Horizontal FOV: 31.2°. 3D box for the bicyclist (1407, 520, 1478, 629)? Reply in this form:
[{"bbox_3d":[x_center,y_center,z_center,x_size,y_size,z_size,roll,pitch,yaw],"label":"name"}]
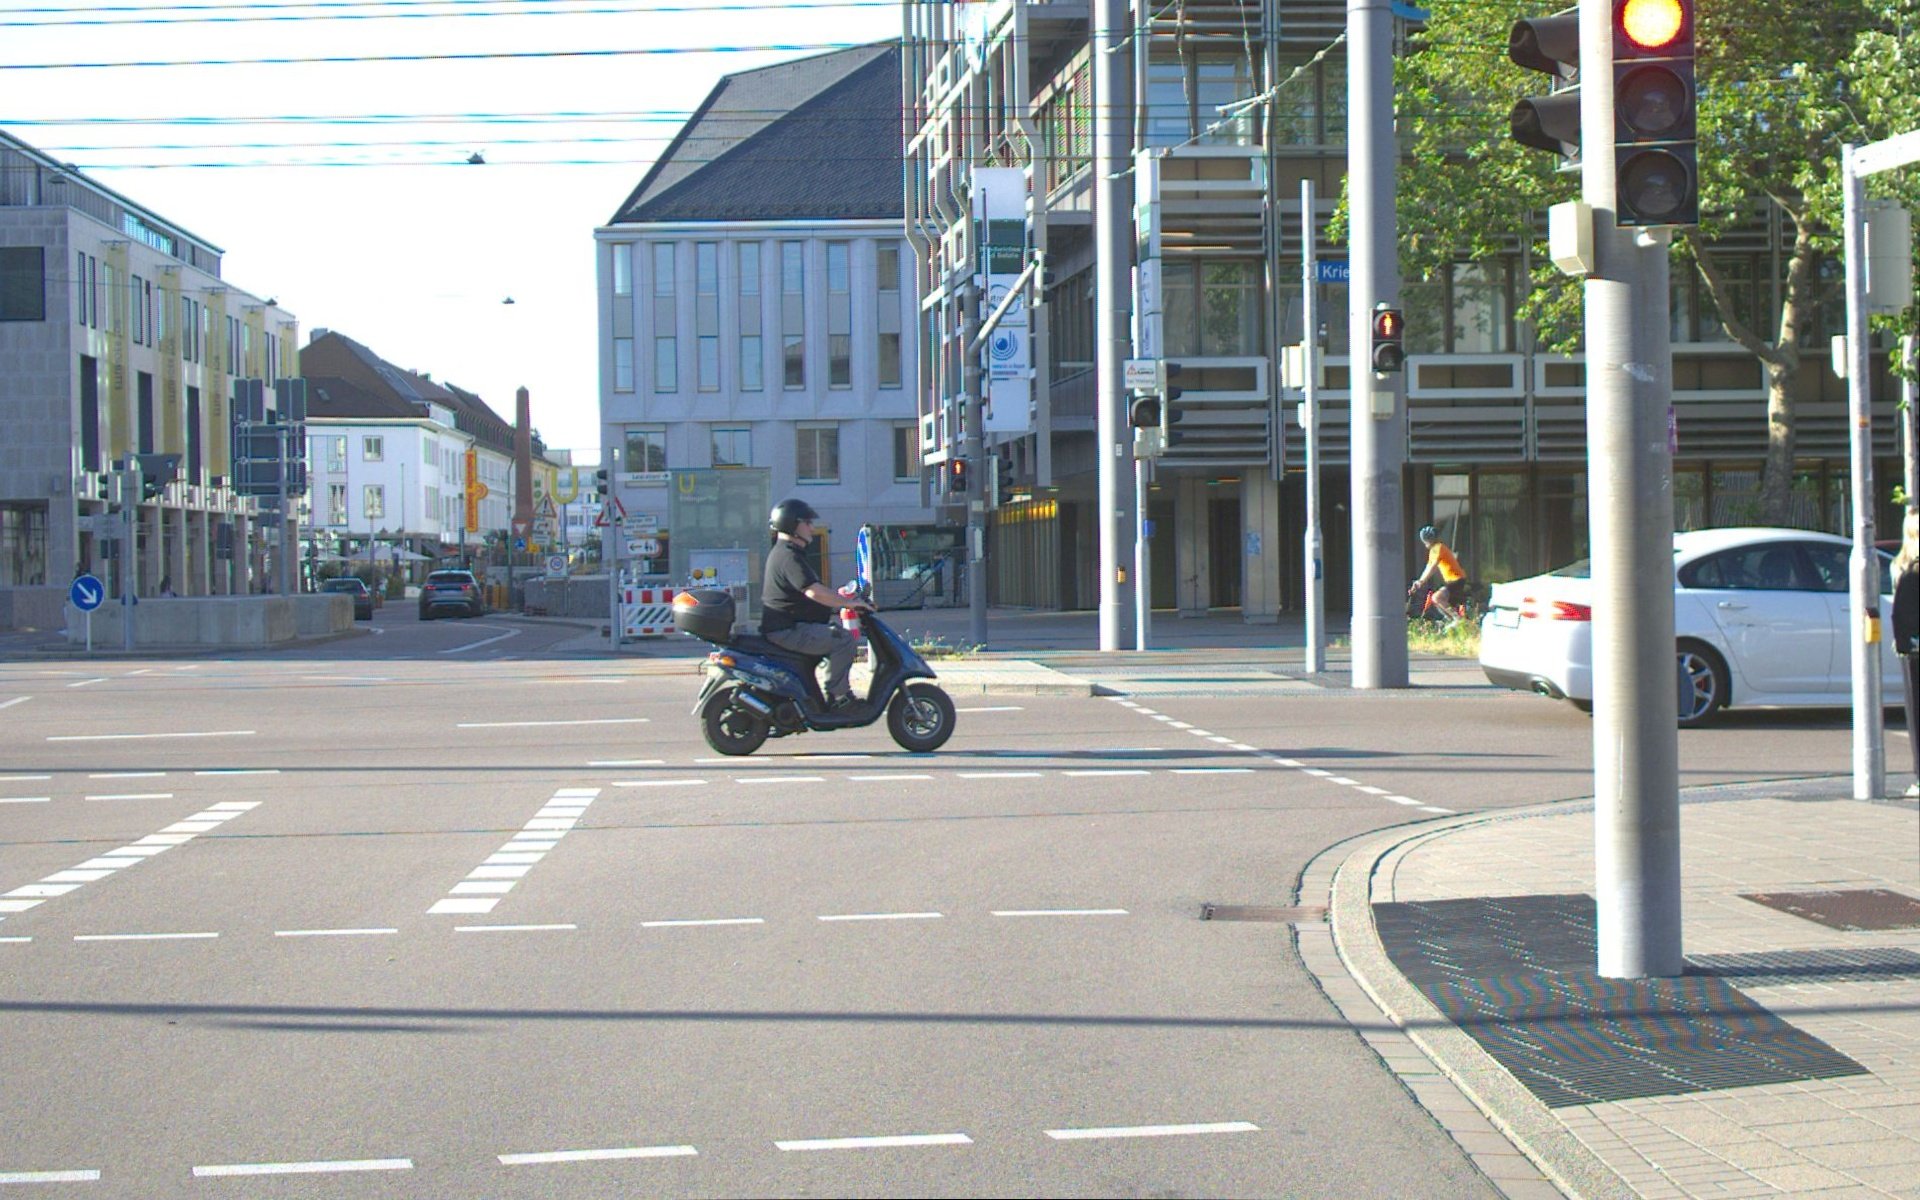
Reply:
[{"bbox_3d":[6.615,-0.358,47.134,0.822,1.469,0.652,-1,1,-4],"label":"bicyclist"}]

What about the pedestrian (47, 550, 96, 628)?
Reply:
[{"bbox_3d":[-20.563,-0.262,79.560,0.899,1.776,0.808,-1,1,-1],"label":"pedestrian"}]

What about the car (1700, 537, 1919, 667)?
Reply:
[{"bbox_3d":[12.387,-0.001,46.423,4.287,1.678,1.826,-1,1,-11],"label":"car"}]

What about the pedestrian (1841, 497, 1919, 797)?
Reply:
[{"bbox_3d":[5.362,0.241,18.929,0.765,1.608,0.874,-1,1,-2],"label":"pedestrian"}]

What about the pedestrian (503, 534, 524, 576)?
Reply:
[{"bbox_3d":[-21.392,-2.158,164.693,0.910,1.958,0.823,1,0,-1],"label":"pedestrian"}]

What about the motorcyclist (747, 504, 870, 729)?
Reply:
[{"bbox_3d":[-1.018,0.104,22.986,0.749,1.474,0.599,-1,1,-8],"label":"motorcyclist"}]

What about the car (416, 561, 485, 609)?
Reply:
[{"bbox_3d":[-16.014,-0.482,108.086,1.658,1.453,3.542,-1,1,-1],"label":"car"}]

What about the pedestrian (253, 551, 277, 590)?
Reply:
[{"bbox_3d":[-28.648,-1.228,141.693,0.683,1.593,0.838,-1,1,9],"label":"pedestrian"}]

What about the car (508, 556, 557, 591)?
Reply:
[{"bbox_3d":[-18.135,-1.142,145.855,1.658,1.453,3.542,-1,1,-1],"label":"car"}]

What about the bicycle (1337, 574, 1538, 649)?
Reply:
[{"bbox_3d":[6.527,0.150,47.128,2.568,0.972,1.047,-1,1,-3],"label":"bicycle"}]

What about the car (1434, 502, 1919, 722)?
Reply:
[{"bbox_3d":[6.390,0.047,26.309,5.082,1.559,2.001,-1,1,-11],"label":"car"}]

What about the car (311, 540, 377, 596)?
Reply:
[{"bbox_3d":[-19.258,-1.015,107.594,1.819,1.678,4.001,-1,1,-8],"label":"car"}]

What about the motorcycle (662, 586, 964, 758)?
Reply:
[{"bbox_3d":[-0.994,0.471,23.013,1.954,1.097,0.649,-1,1,-8],"label":"motorcycle"}]
